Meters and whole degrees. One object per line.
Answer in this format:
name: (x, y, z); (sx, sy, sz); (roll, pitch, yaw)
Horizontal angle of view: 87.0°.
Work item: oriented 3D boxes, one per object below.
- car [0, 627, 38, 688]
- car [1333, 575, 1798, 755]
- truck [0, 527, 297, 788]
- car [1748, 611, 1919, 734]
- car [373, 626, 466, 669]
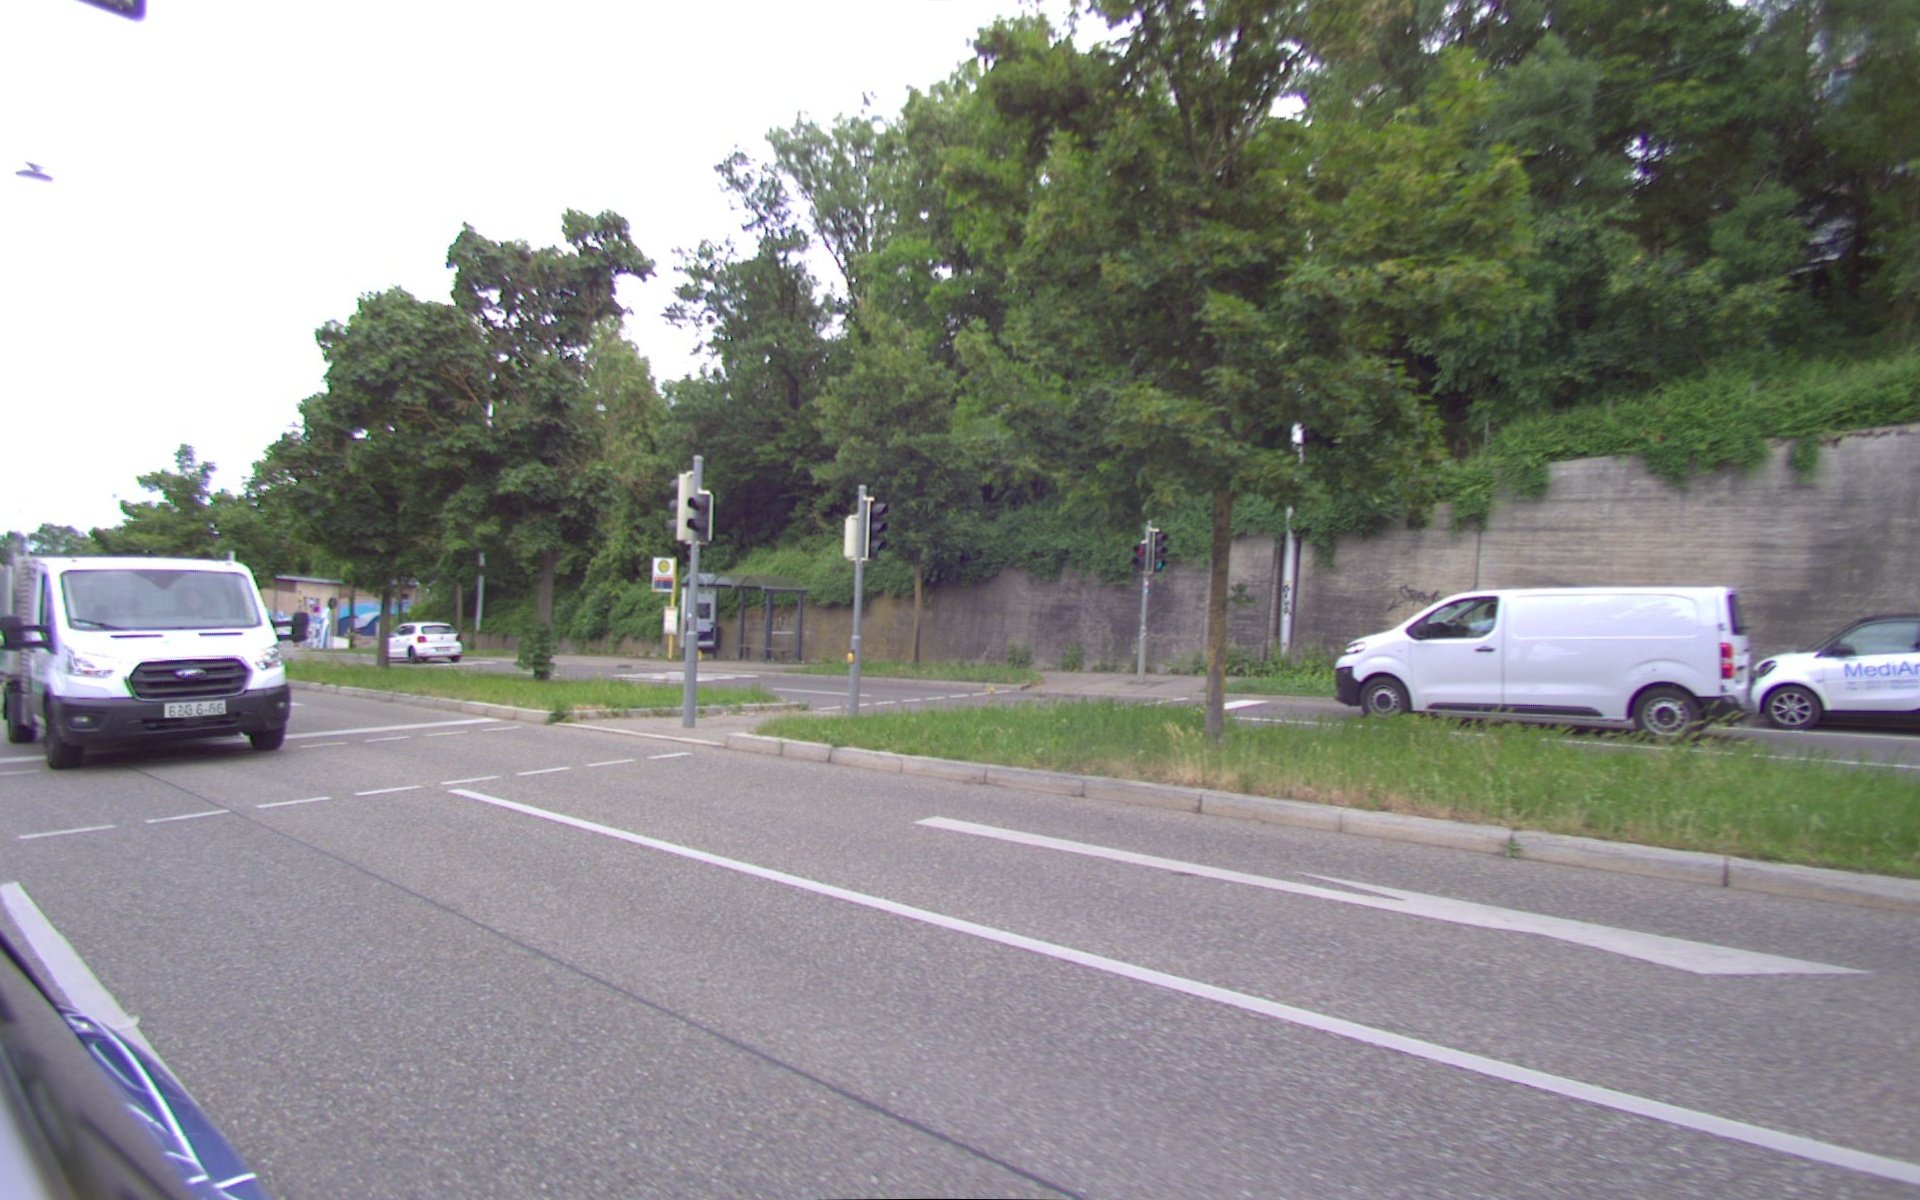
car: (-25.434, 1.484, 26.203); (4.399, 1.492, 1.890); (-2, -1, 42)
car: (7.839, 0.763, 13.471); (5.020, 1.972, 1.918); (-2, -1, 42)
truck: (-10.035, 0.564, 11.969); (6.329, 2.339, 2.053); (-1, -2, 41)
car: (12.372, 0.913, 13.296); (3.095, 1.510, 1.762); (-2, -1, 40)
car: (-19.723, 1.698, 36.865); (3.787, 1.439, 1.711); (-1, 0, 40)
